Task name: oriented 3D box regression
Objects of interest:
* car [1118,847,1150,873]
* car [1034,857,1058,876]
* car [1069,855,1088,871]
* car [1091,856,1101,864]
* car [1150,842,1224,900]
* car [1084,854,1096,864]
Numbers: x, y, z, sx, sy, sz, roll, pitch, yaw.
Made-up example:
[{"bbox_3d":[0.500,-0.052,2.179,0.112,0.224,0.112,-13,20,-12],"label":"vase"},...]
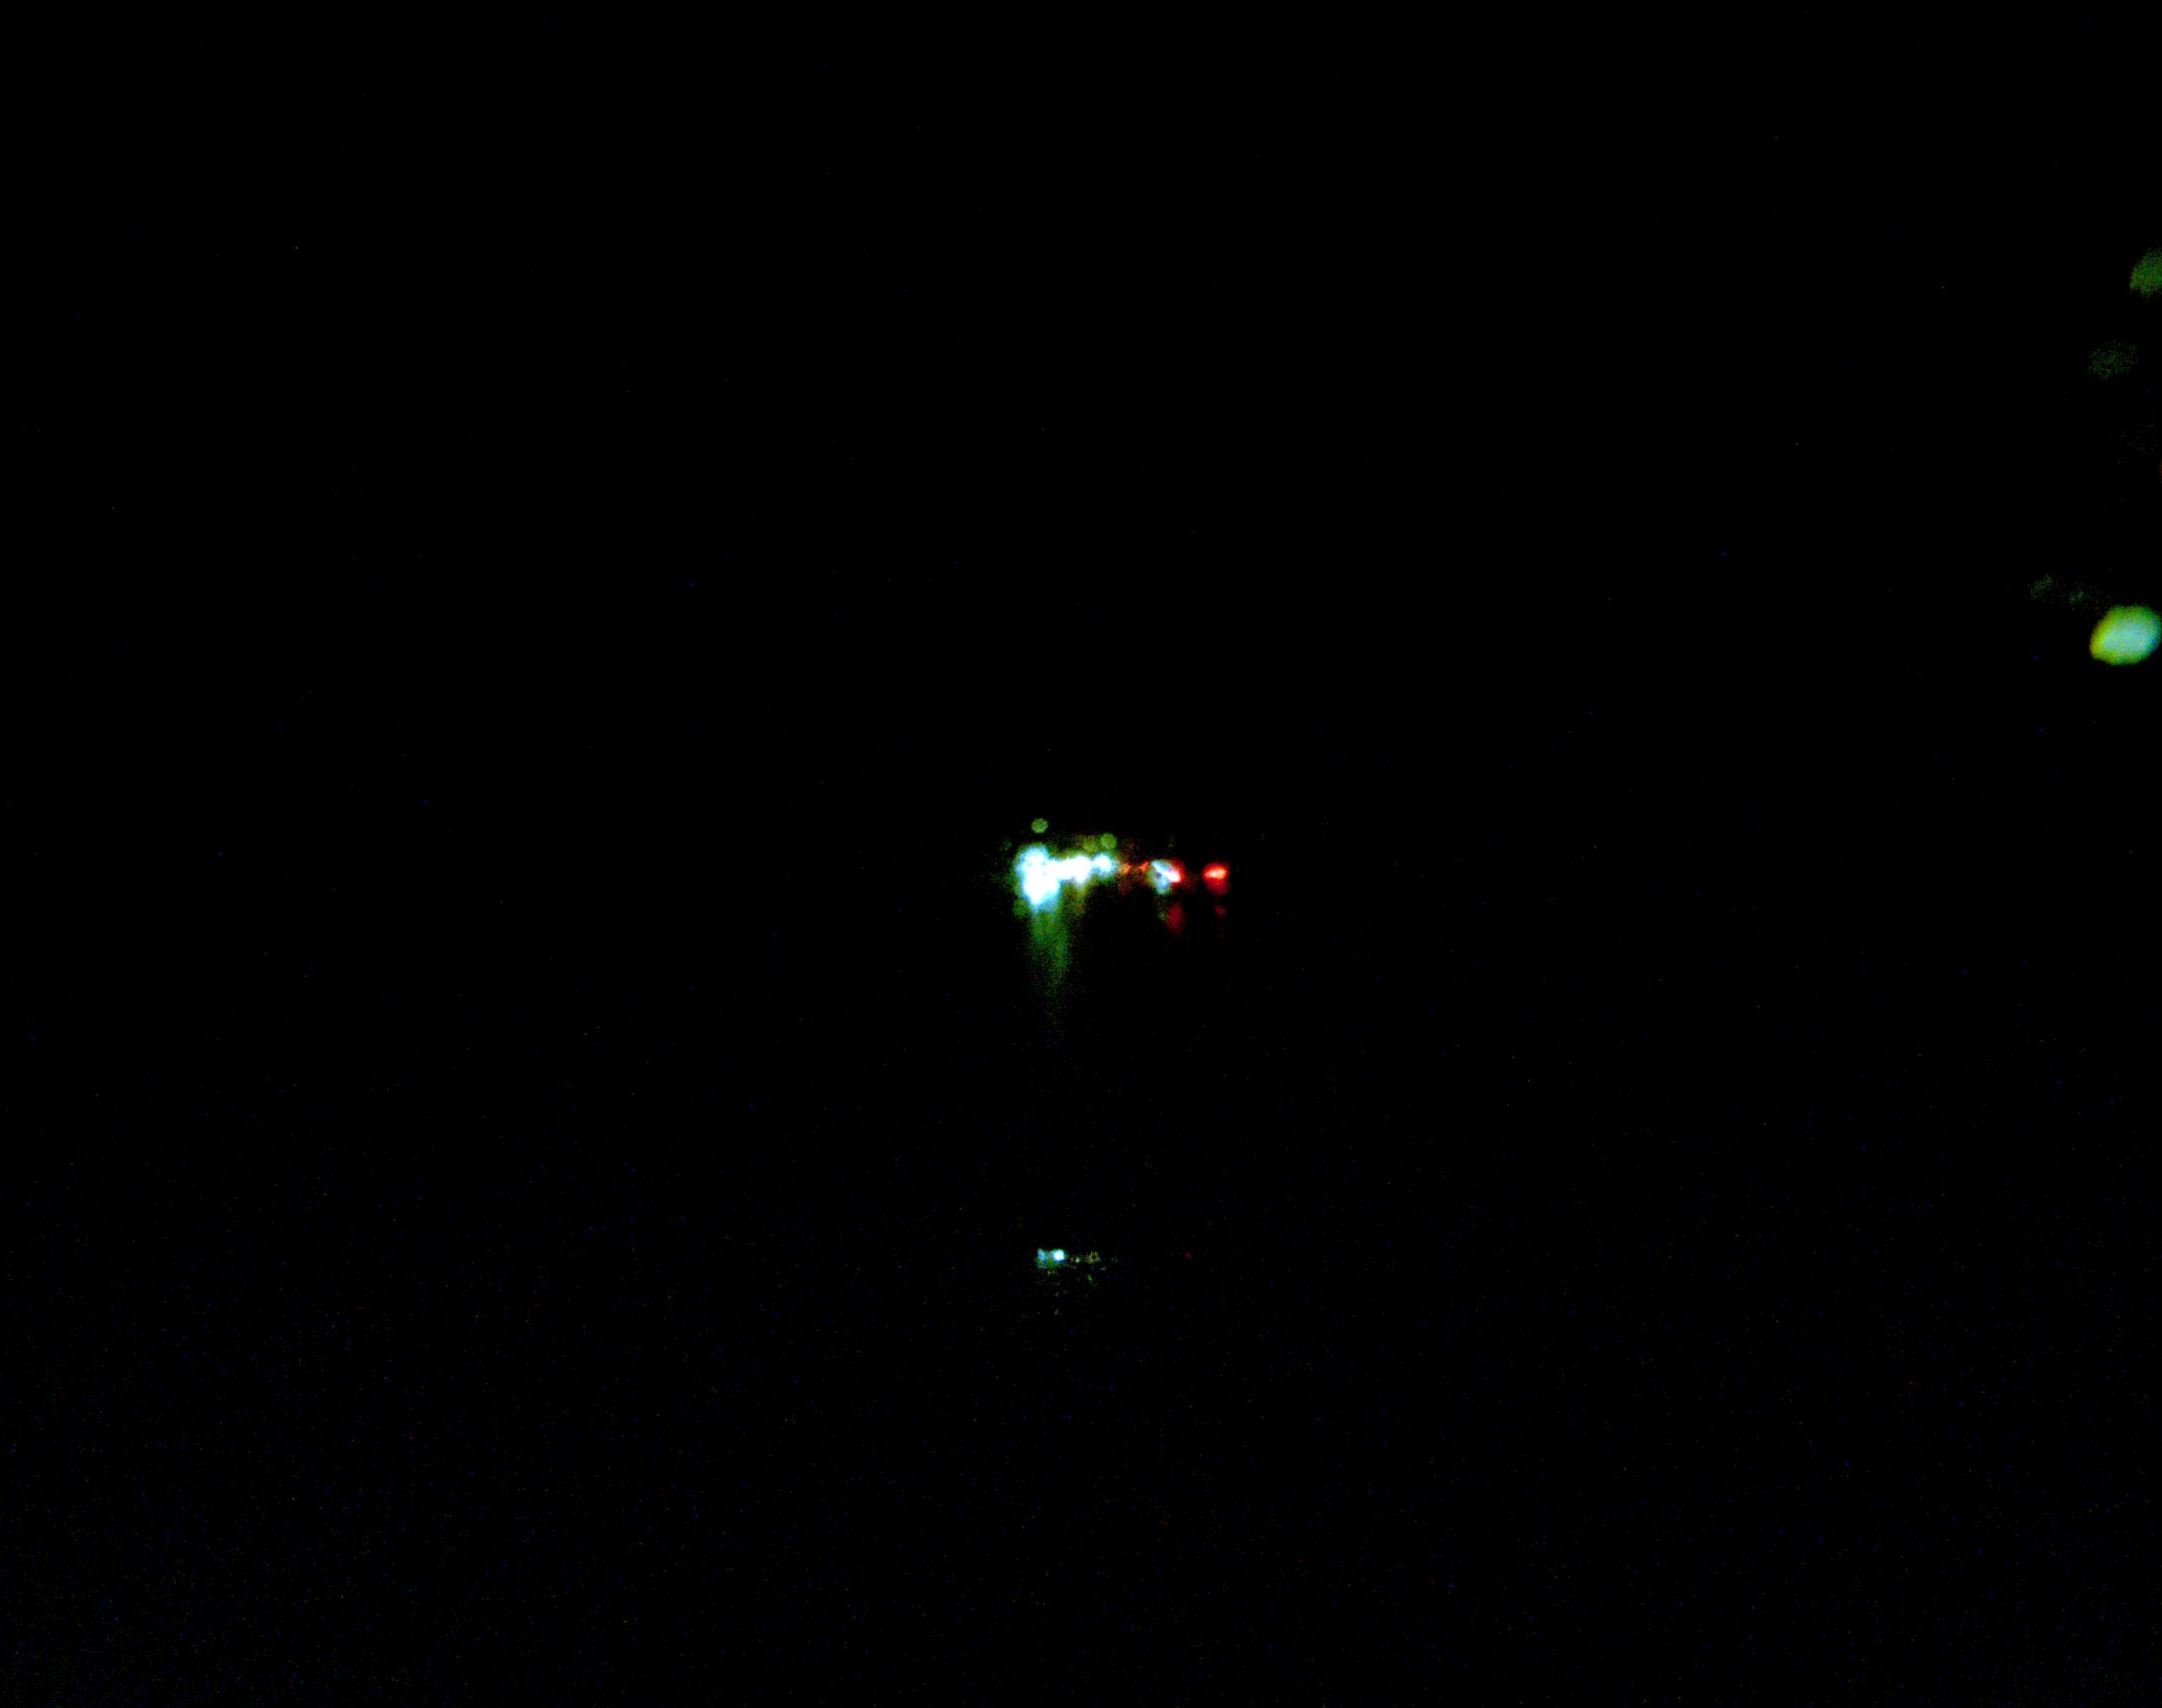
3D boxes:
[{"bbox_3d":[3.594,0.385,52.012,1.904,1.635,3.791,-3,1,1],"label":"car"},{"bbox_3d":[-3.091,1.052,67.756,1.999,1.576,3.999,-1,0,-1],"label":"car"},{"bbox_3d":[-0.308,0.972,86.193,1.998,1.576,3.999,-3,0,0],"label":"car"},{"bbox_3d":[3.324,1.352,165.874,1.999,1.465,4.275,-3,1,-1],"label":"car"},{"bbox_3d":[3.434,0.515,25.296,1.795,1.681,3.999,-3,1,-1],"label":"car"},{"bbox_3d":[1.504,0.791,128.230,1.998,1.576,3.999,-3,0,0],"label":"car"}]
